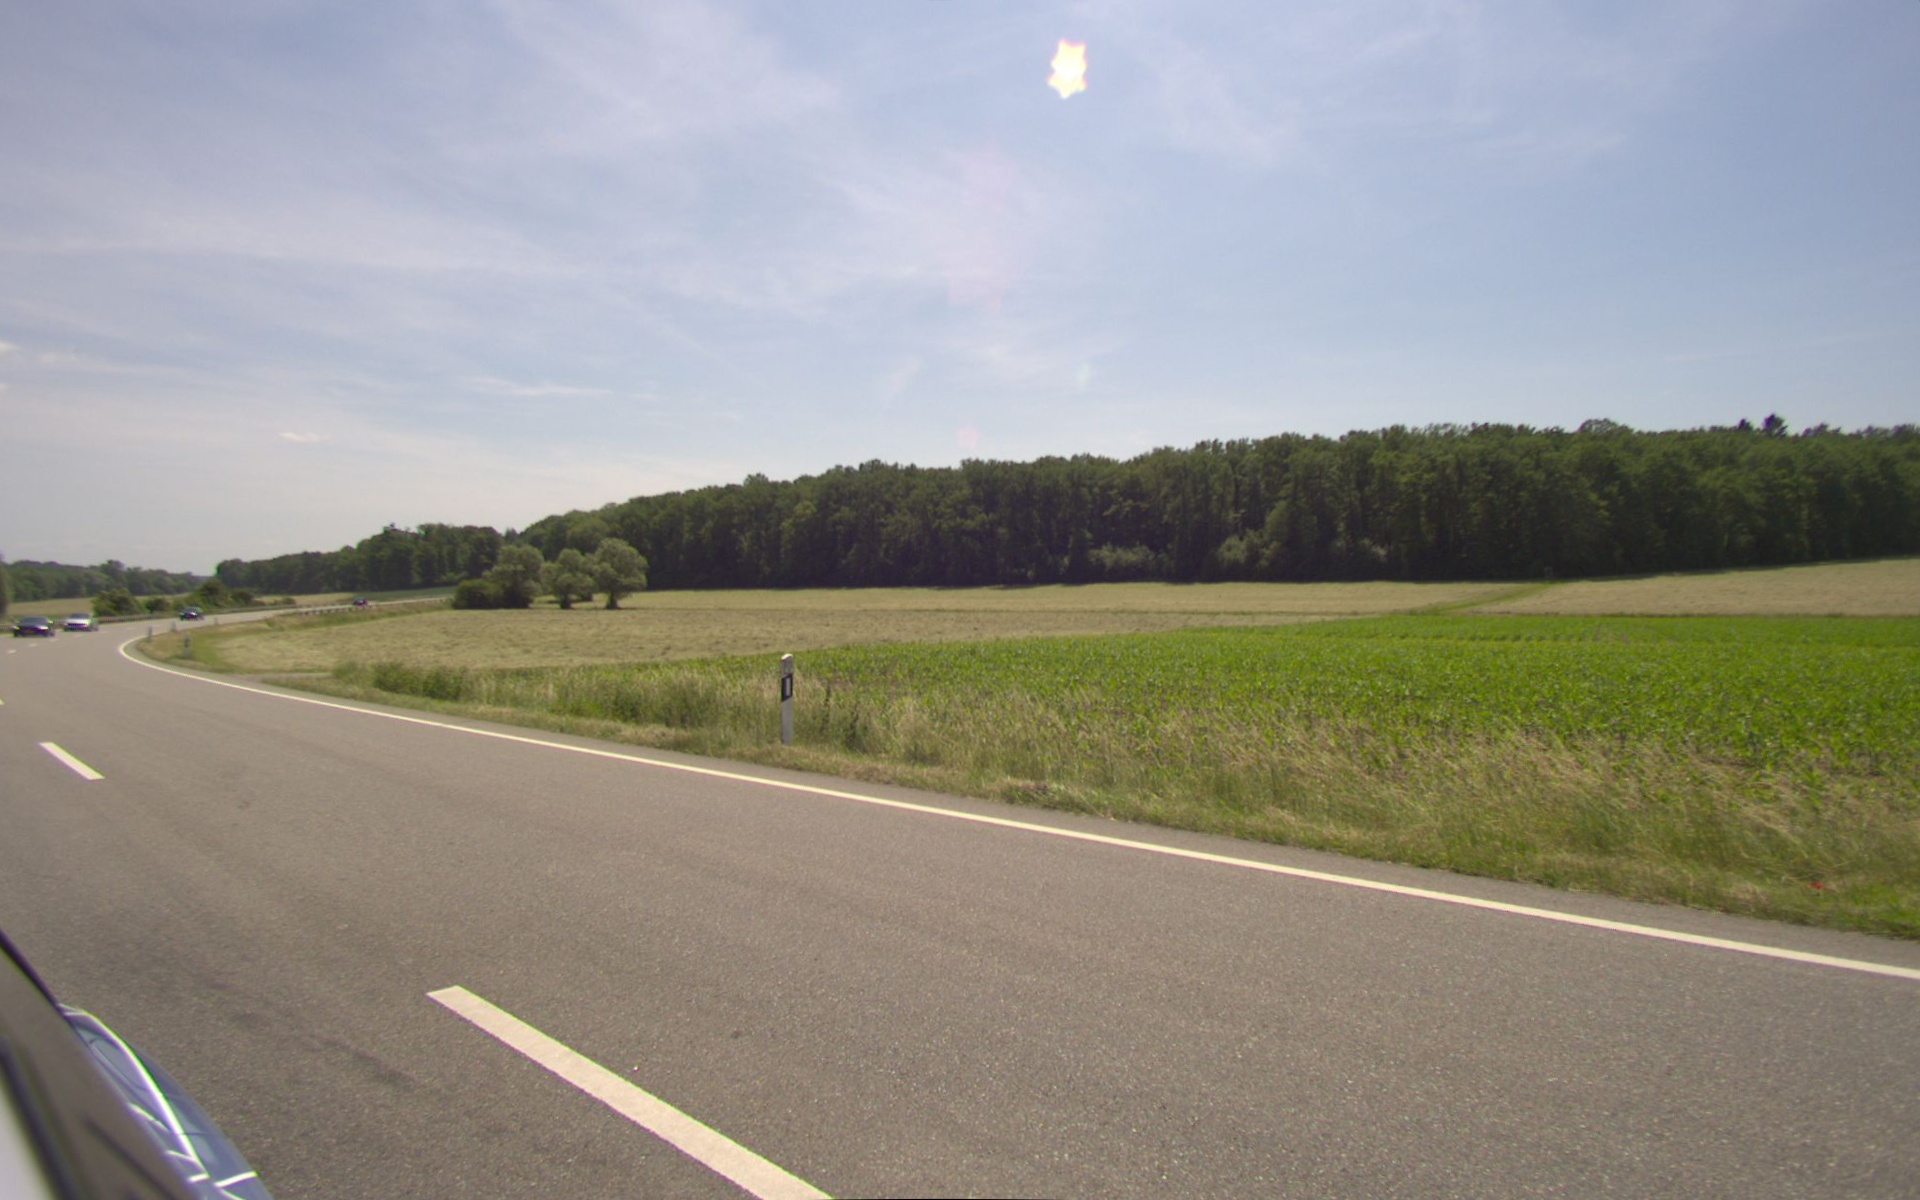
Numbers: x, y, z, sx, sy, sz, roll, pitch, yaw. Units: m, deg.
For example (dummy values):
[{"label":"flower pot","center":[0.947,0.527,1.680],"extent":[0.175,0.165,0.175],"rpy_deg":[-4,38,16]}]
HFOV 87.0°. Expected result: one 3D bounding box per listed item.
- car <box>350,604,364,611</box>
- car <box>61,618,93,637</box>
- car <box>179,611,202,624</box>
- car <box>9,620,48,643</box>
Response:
[{"label":"car","center":[-119.923,1.495,201.254],"extent":[1.595,1.447,3.453],"rpy_deg":[0,1,-16]},{"label":"car","center":[-73.052,2.255,83.743],"extent":[1.596,1.447,3.452],"rpy_deg":[-1,1,-35]},{"label":"car","center":[-94.017,2.085,123.627],"extent":[1.595,1.447,3.454],"rpy_deg":[0,1,-27]},{"label":"car","center":[-62.841,2.081,68.321],"extent":[1.596,1.447,3.450],"rpy_deg":[0,0,-37]}]
